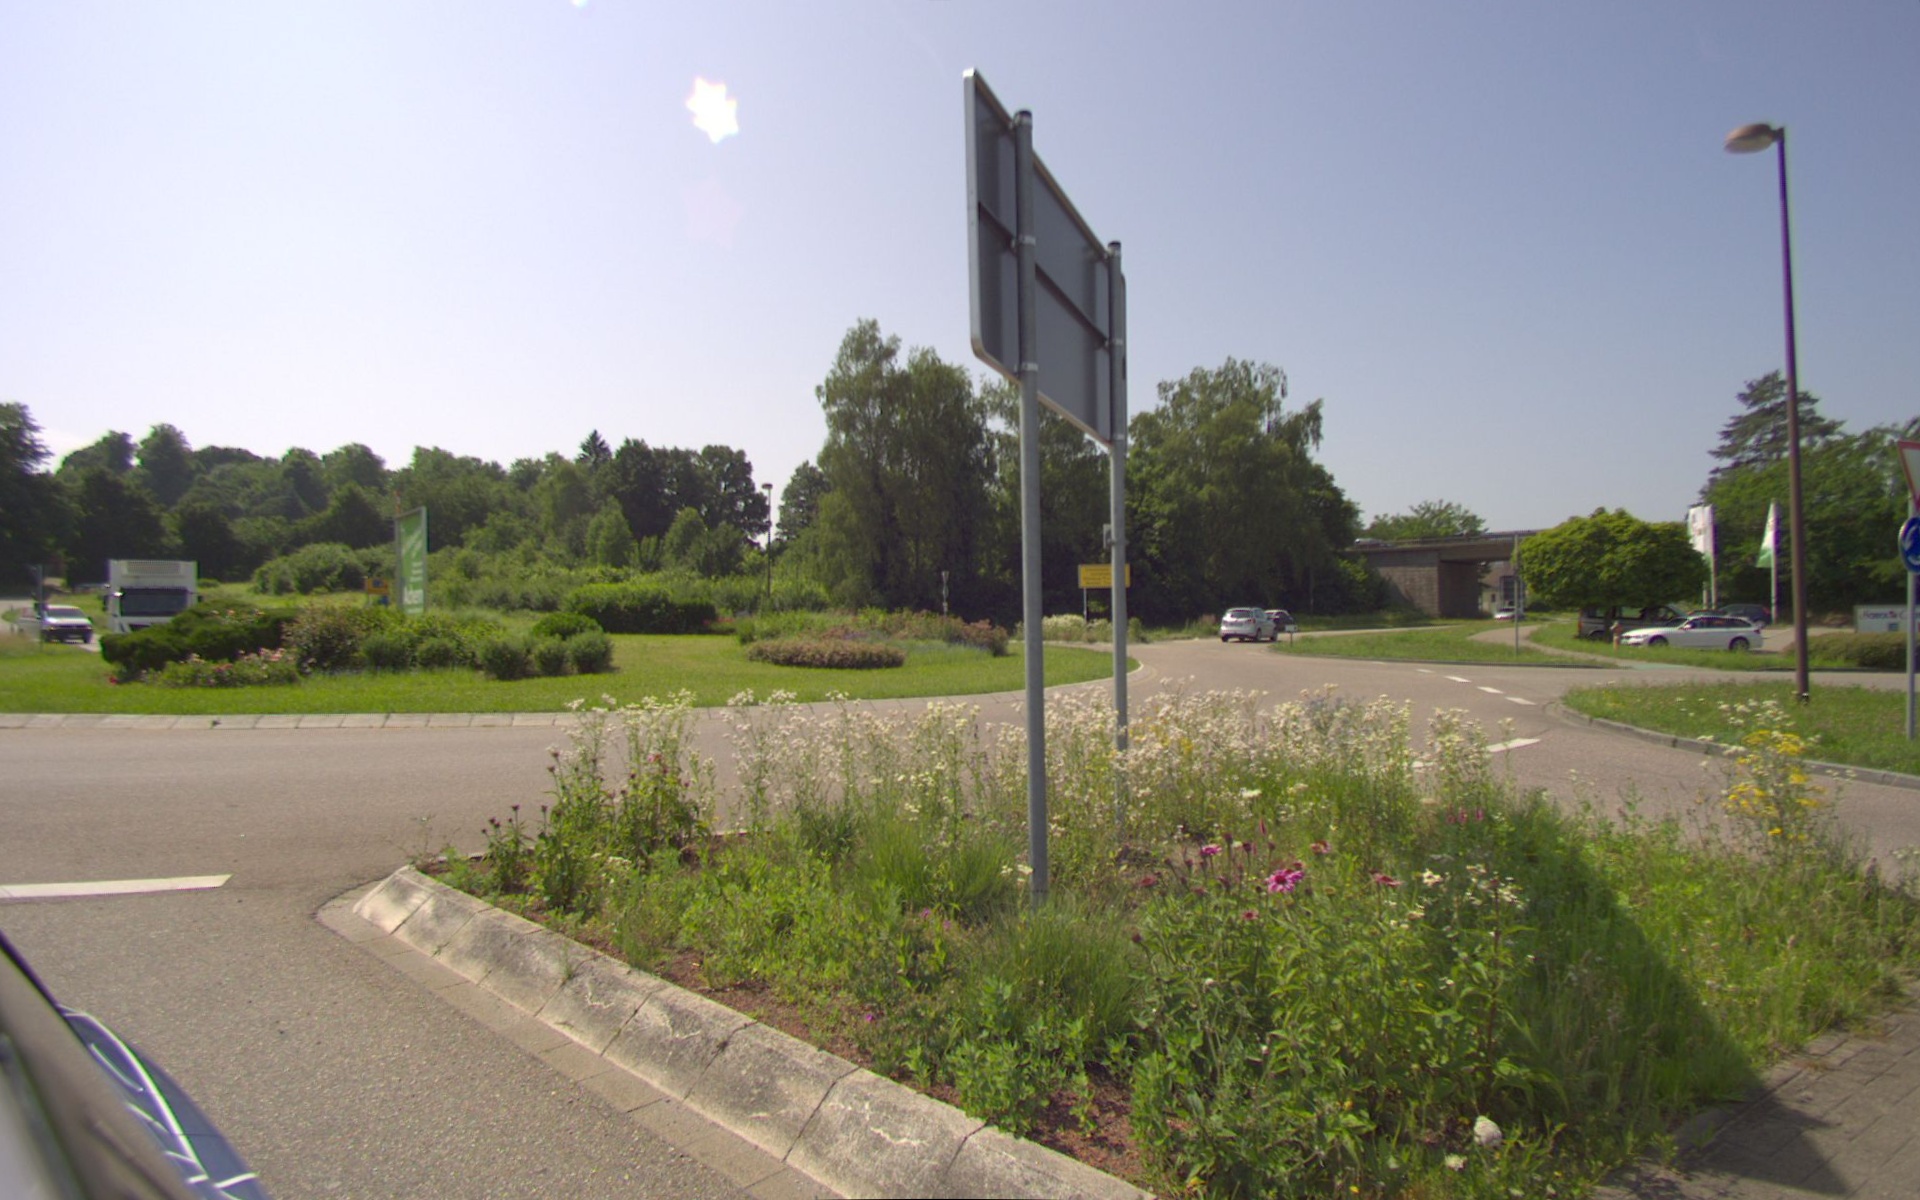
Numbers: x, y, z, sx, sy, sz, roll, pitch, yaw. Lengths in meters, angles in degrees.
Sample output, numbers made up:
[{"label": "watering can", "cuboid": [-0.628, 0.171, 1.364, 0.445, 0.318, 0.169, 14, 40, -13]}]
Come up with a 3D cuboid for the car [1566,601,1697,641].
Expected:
[{"label": "car", "cuboid": [28.374, 0.875, 42.849, 4.405, 1.573, 1.850, -1, 1, 42]}]

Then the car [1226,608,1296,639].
[{"label": "car", "cuboid": [18.580, 1.417, 62.333, 4.568, 1.664, 2.031, -2, 0, -43]}]

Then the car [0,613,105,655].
[{"label": "car", "cuboid": [-47.149, 1.748, 52.203, 5.556, 2.029, 1.988, -1, 1, 18]}]

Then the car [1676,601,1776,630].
[{"label": "car", "cuboid": [47.028, 0.933, 62.203, 1.999, 1.664, 4.641, -2, 0, -44]}]

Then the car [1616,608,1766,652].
[{"label": "car", "cuboid": [27.513, 1.118, 38.181, 4.500, 1.509, 1.586, -1, 1, -1]}]

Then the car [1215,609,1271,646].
[{"label": "car", "cuboid": [13.301, 1.257, 47.375, 1.782, 1.563, 3.964, -1, 1, 27]}]

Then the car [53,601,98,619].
[{"label": "car", "cuboid": [-85.337, 0.984, 97.650, 1.727, 1.542, 4.226, 1, -3, -19]}]

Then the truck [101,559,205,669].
[{"label": "truck", "cuboid": [-31.797, 0.467, 39.886, 2.854, 3.858, 9.040, -2, 1, -39]}]
